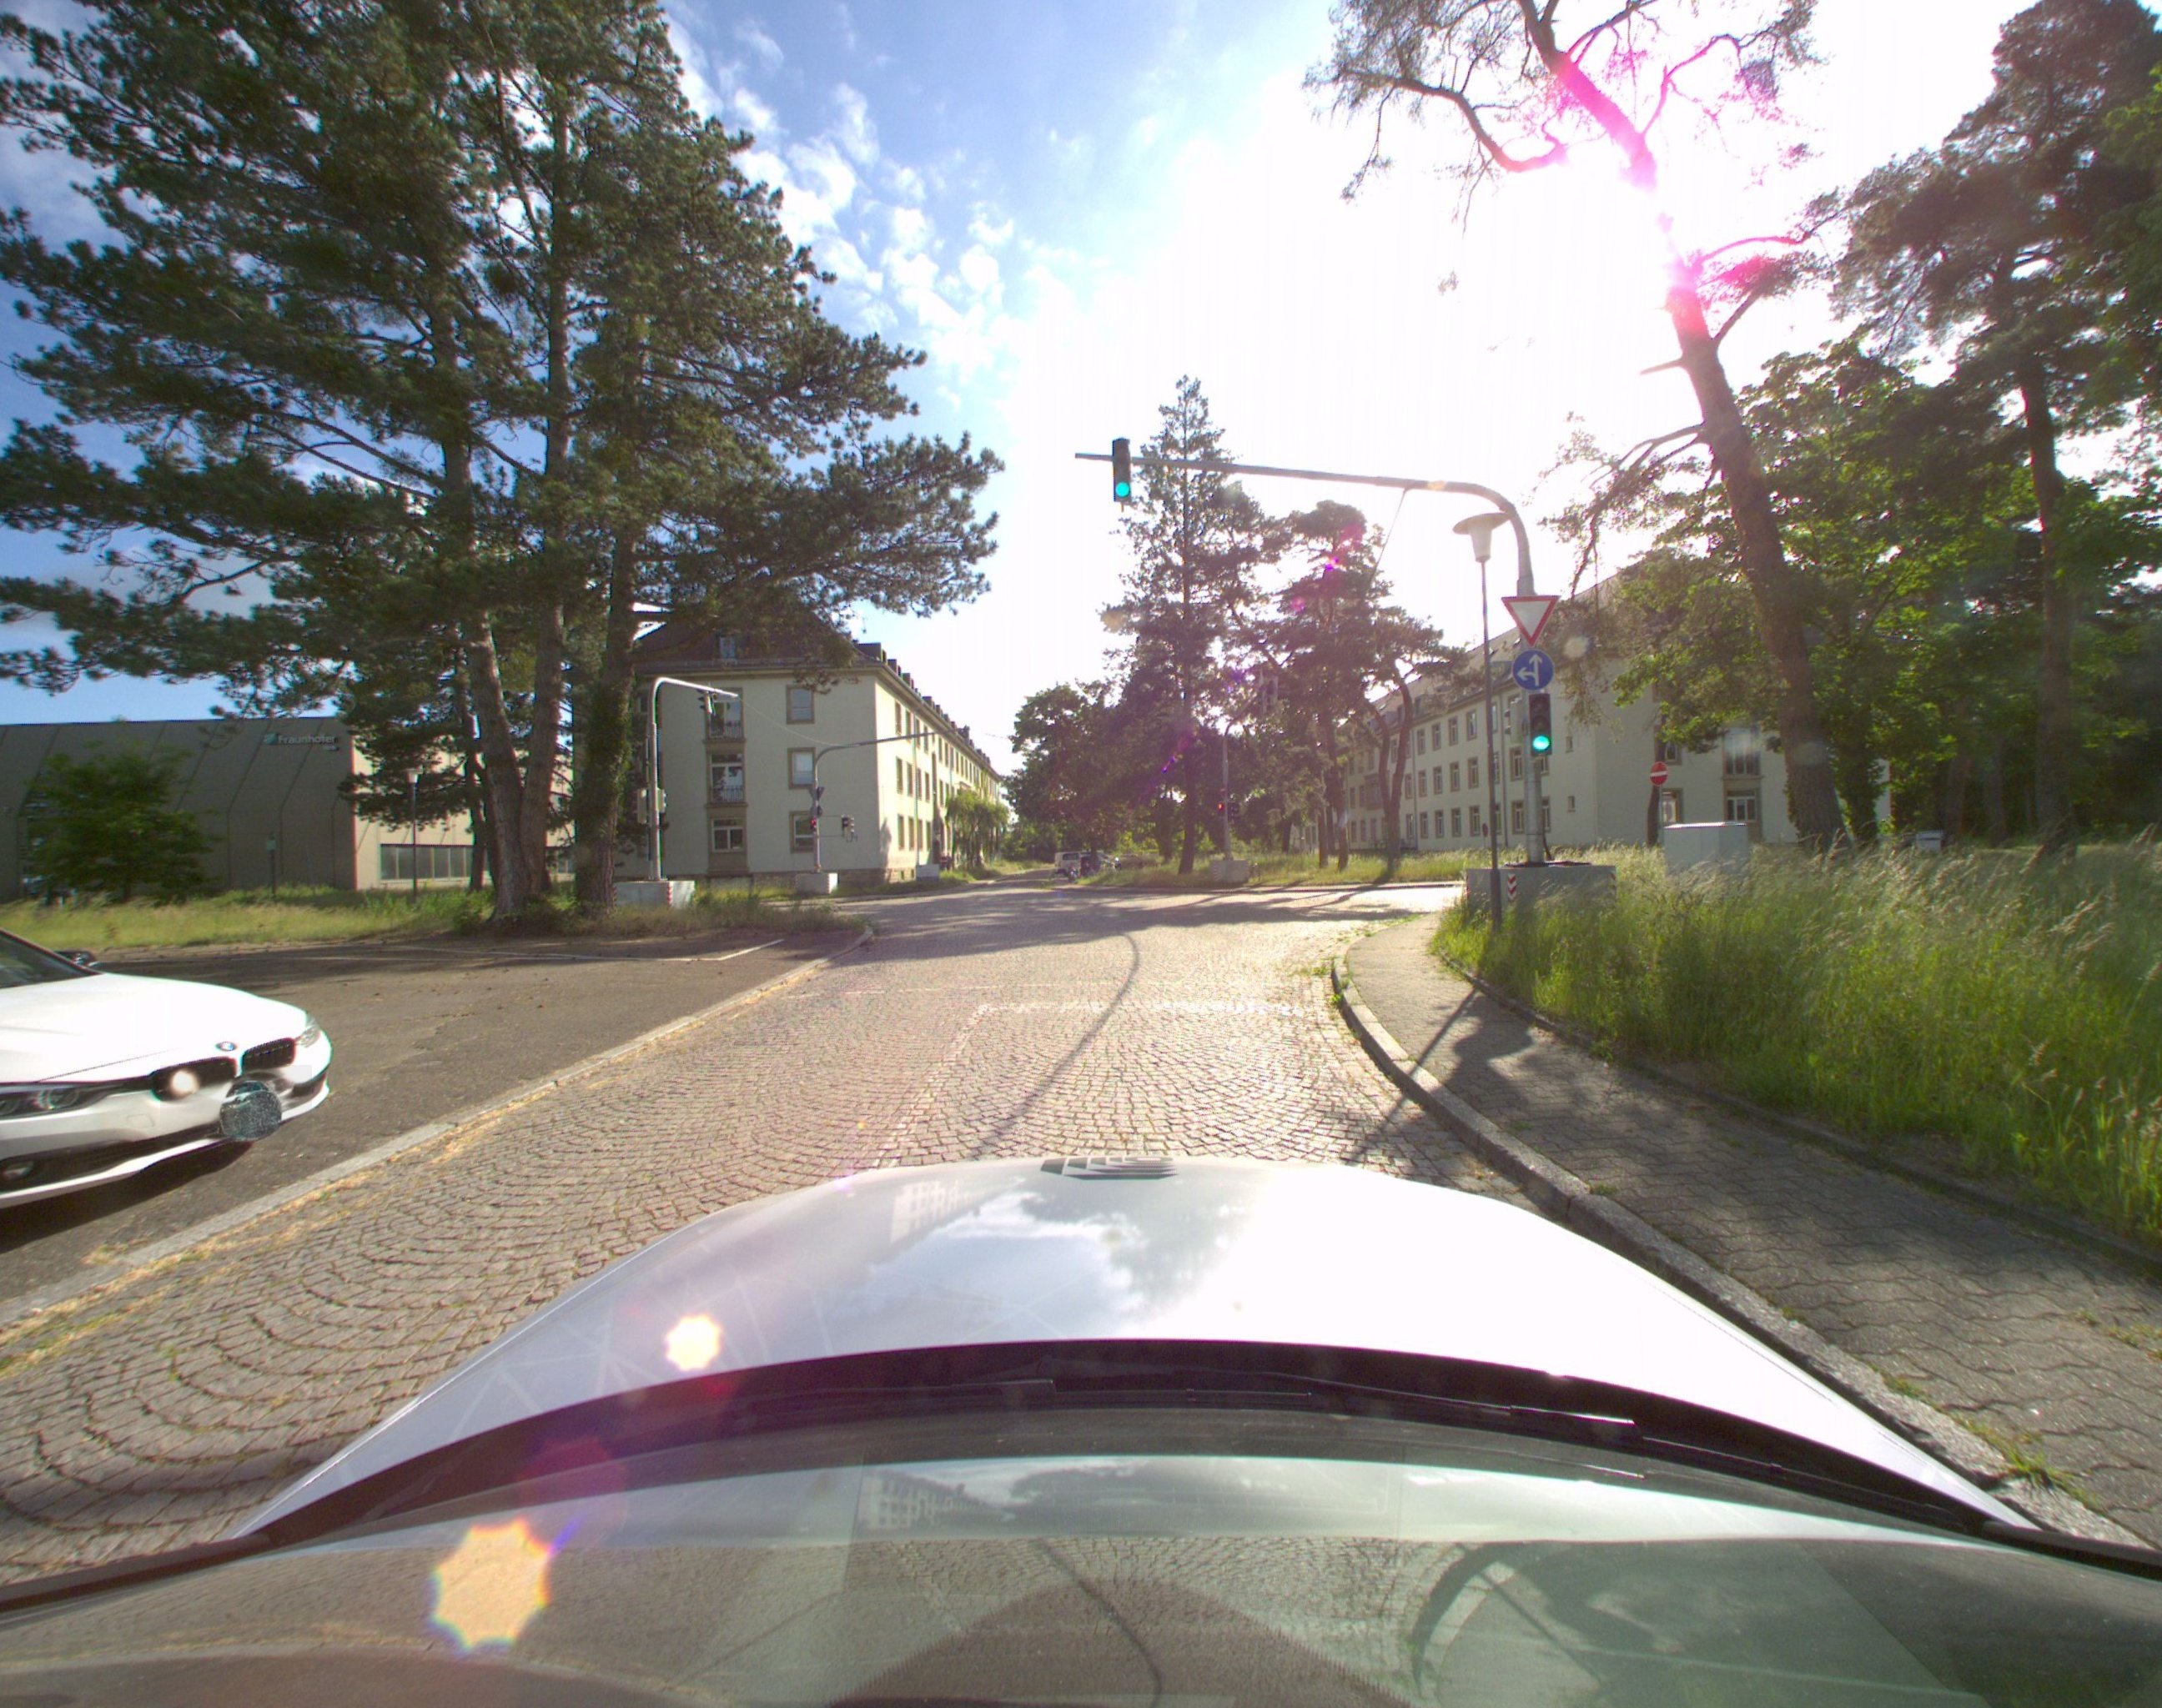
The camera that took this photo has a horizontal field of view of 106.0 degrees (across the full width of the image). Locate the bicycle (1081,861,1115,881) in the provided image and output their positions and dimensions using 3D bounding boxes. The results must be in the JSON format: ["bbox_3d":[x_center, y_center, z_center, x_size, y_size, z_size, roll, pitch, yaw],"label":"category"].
[{"bbox_3d":[0.950,0.943,45.959,1.850,1.031,0.749,-2,0,-4],"label":"bicycle"}]

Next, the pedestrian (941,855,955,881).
[{"bbox_3d":[-9.501,1.005,58.294,0.762,1.817,0.684,-2,0,10],"label":"pedestrian"}]

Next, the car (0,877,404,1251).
[{"bbox_3d":[-6.508,0.880,4.131,4.530,1.467,1.751,1,0,-3],"label":"car"}]

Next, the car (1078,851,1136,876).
[{"bbox_3d":[1.885,0.704,59.738,3.985,1.684,1.842,-2,0,-8],"label":"car"}]

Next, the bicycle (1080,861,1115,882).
[{"bbox_3d":[0.927,0.990,46.754,1.936,1.129,0.749,-2,0,-4],"label":"bicycle"}]

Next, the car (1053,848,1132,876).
[{"bbox_3d":[0.873,0.631,64.094,5.925,2.013,2.469,-2,0,-7],"label":"car"}]

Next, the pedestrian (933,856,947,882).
[{"bbox_3d":[-9.863,1.047,57.003,0.806,1.817,0.556,-2,0,10],"label":"pedestrian"}]

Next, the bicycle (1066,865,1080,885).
[{"bbox_3d":[-0.433,1.073,42.465,0.693,0.971,1.859,-1,0,-2],"label":"bicycle"}]

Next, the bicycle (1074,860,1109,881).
[{"bbox_3d":[0.641,0.956,47.970,1.951,1.129,0.642,-2,0,-27],"label":"bicycle"}]

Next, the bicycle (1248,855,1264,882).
[{"bbox_3d":[7.284,0.596,33.892,0.464,1.080,1.175,-2,-1,3],"label":"bicycle"}]

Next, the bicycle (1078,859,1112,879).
[{"bbox_3d":[0.827,0.910,49.061,1.938,1.129,0.646,-2,0,-6],"label":"bicycle"}]

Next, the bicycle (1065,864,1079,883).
[{"bbox_3d":[-0.490,1.070,44.403,0.693,0.971,1.859,-1,0,-2],"label":"bicycle"}]

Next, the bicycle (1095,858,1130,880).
[{"bbox_3d":[1.843,0.853,47.467,1.936,1.235,0.485,-2,0,-4],"label":"bicycle"}]
